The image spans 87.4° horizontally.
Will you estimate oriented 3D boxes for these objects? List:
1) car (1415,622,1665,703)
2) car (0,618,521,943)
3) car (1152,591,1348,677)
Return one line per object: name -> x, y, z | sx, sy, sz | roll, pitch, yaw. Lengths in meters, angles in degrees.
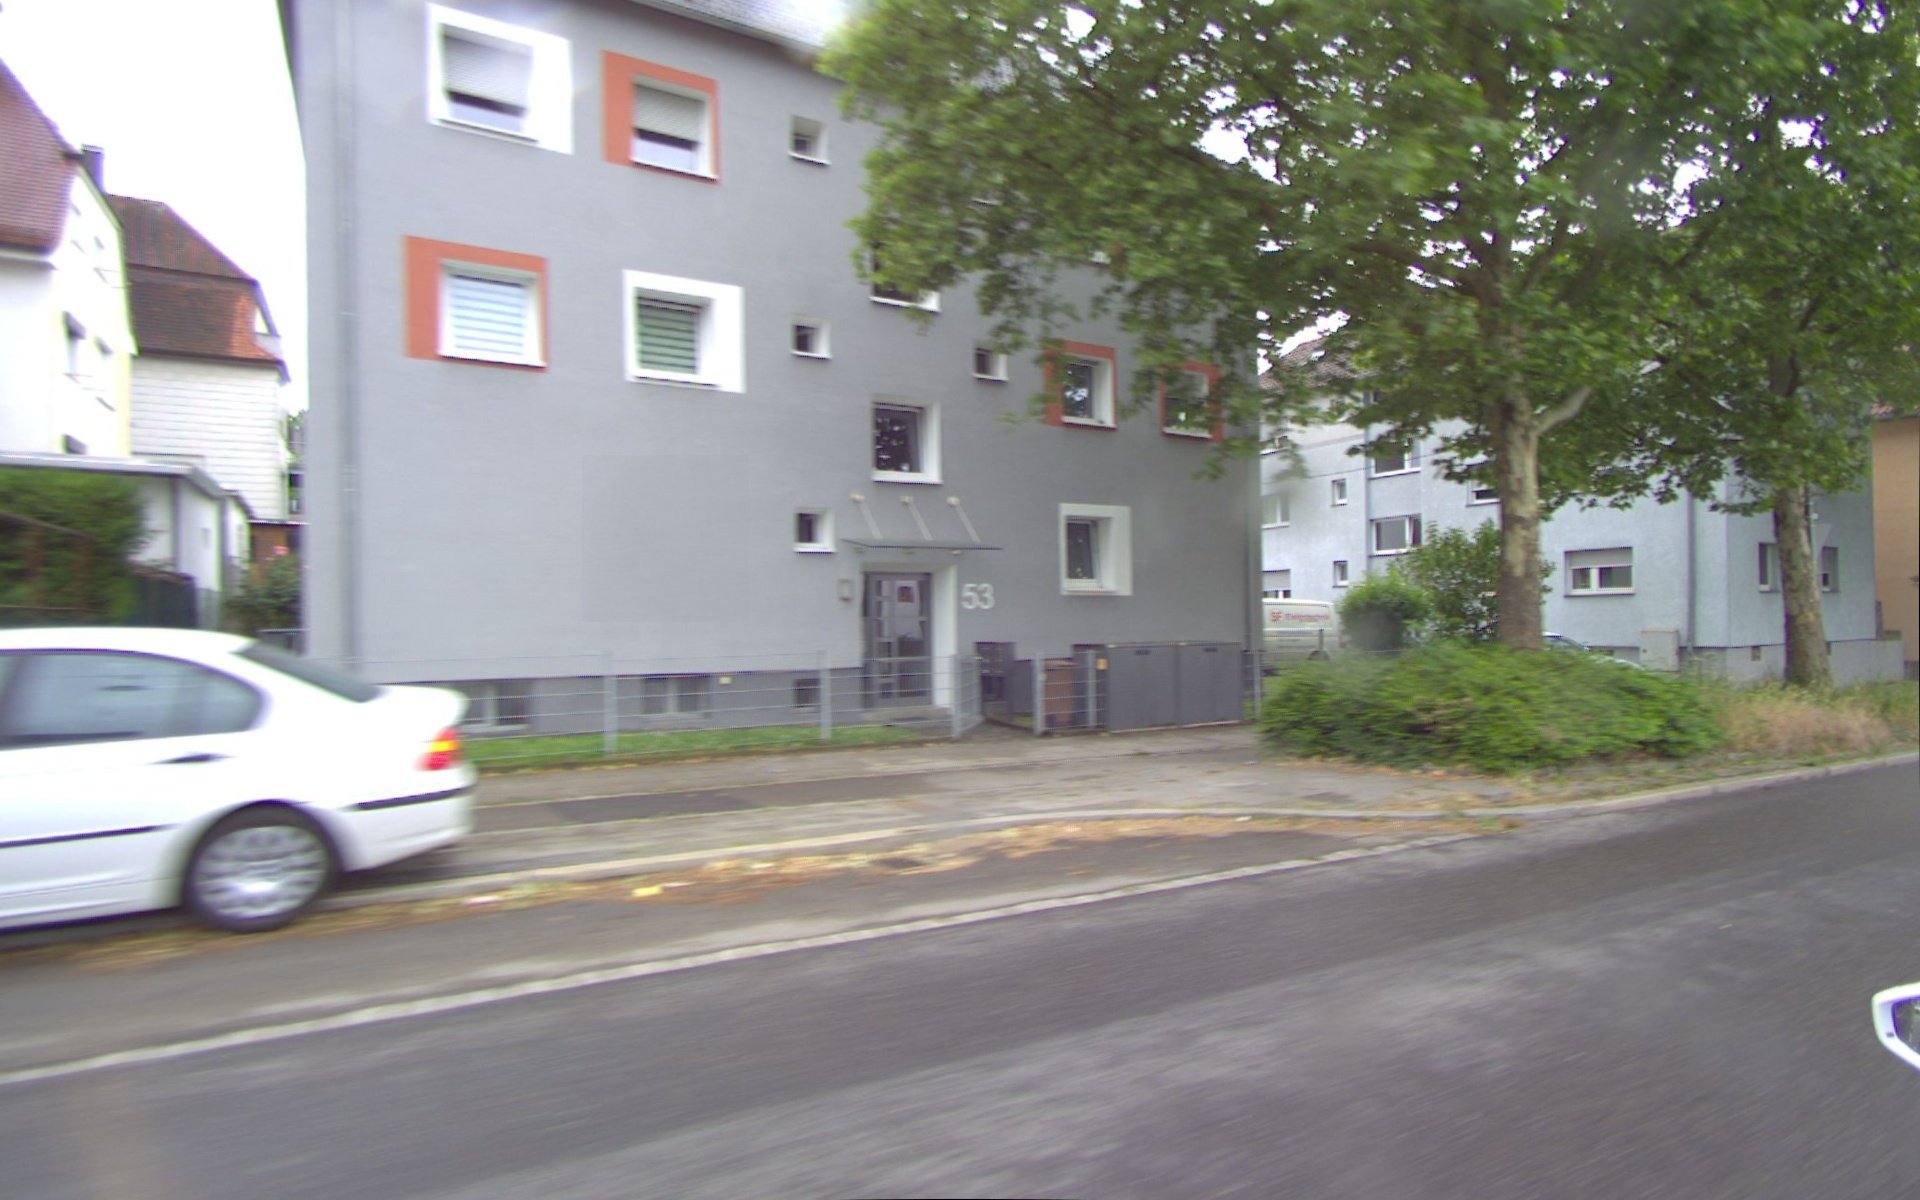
car -> 13.045, 1.344, 22.914 | 1.848, 1.496, 4.640 | 2, 0, -30
car -> -4.693, 0.771, 4.849 | 4.491, 1.344, 1.745 | 2, -1, -34
car -> 7.137, 0.839, 24.656 | 4.492, 1.945, 1.878 | 2, 0, -26
